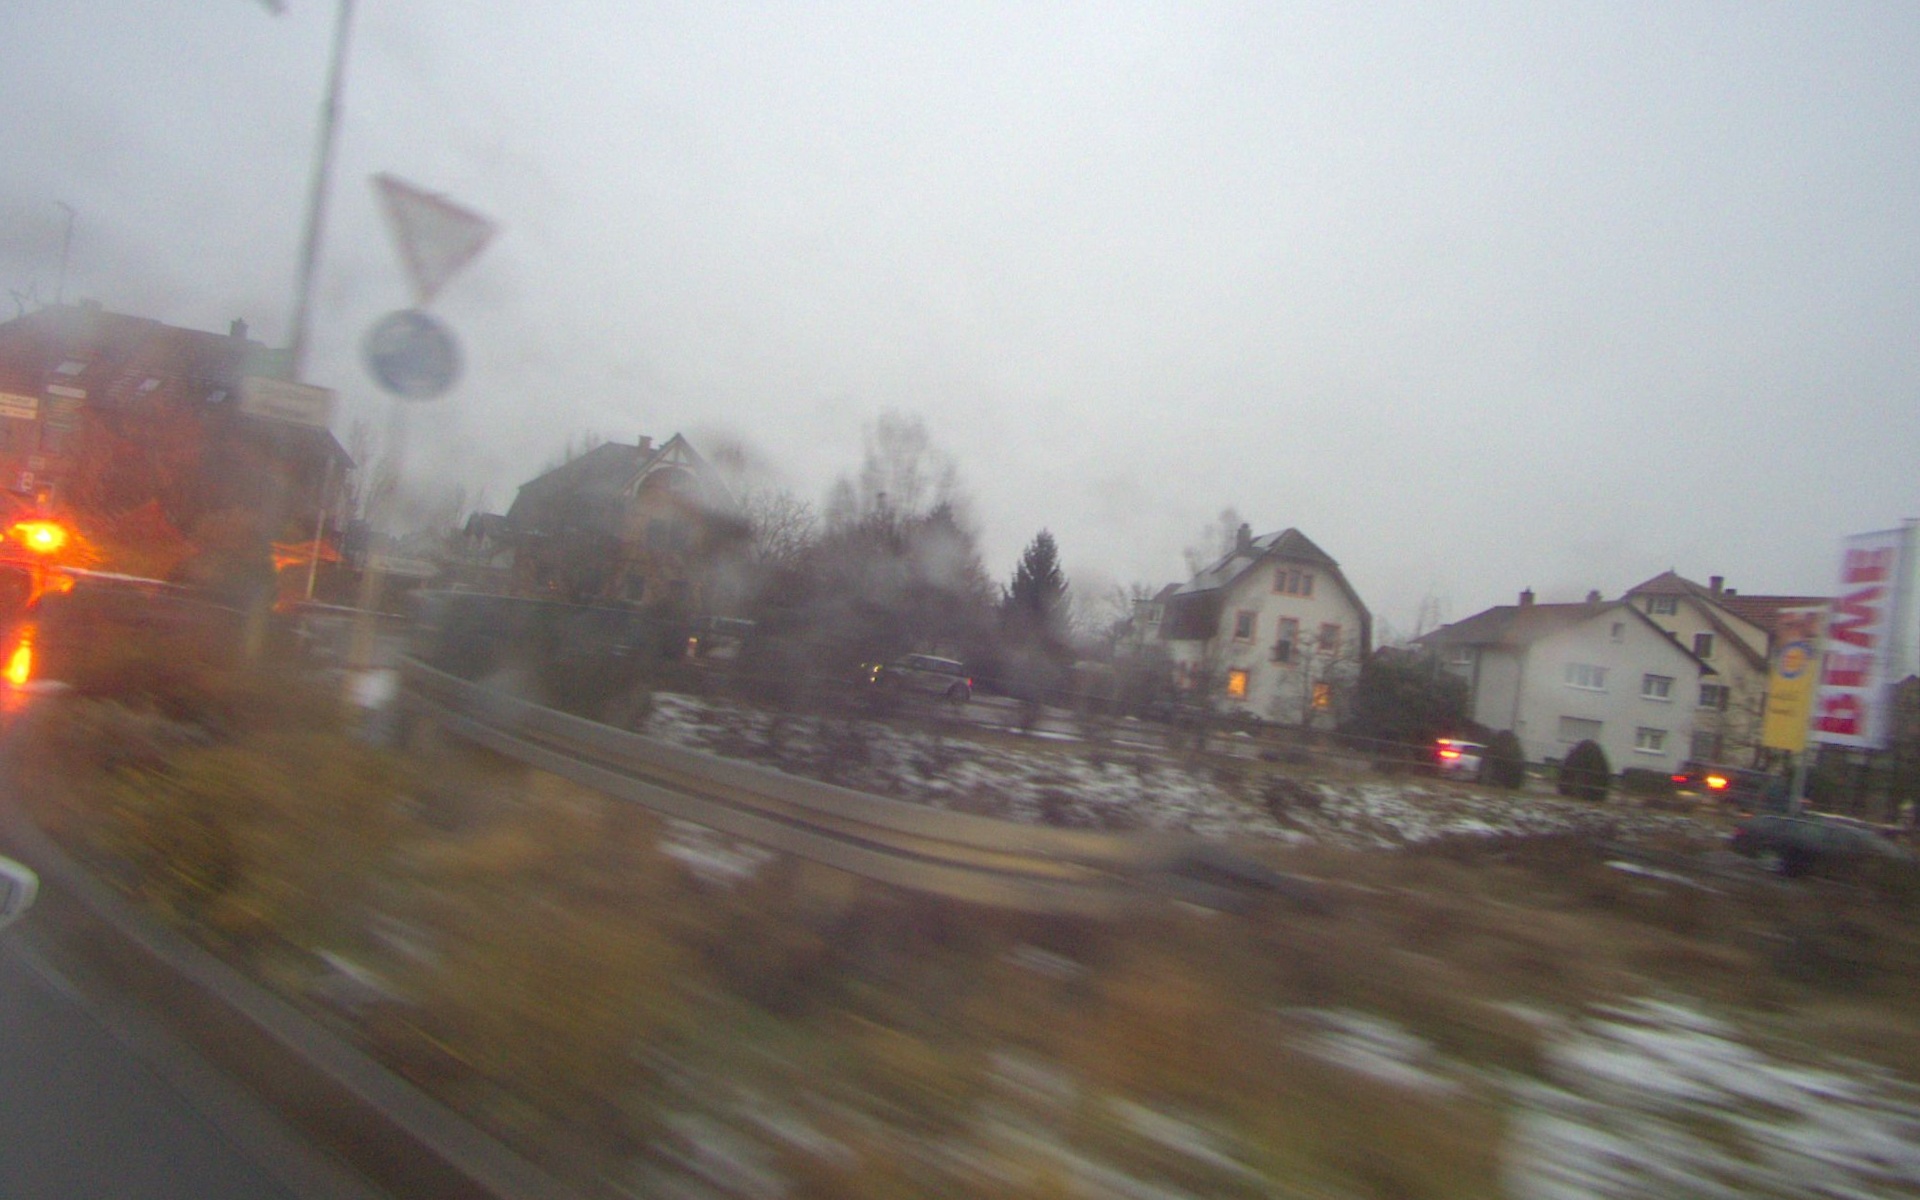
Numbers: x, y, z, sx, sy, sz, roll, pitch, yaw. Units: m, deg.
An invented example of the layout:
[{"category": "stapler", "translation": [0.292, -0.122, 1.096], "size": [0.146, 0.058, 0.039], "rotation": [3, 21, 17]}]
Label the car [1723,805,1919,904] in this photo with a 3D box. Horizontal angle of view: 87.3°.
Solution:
[{"category": "car", "translation": [20.573, 5.935, 23.569], "size": [1.597, 1.417, 3.919], "rotation": [10, -4, -32]}]

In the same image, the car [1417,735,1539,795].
[{"category": "car", "translation": [19.094, 6.080, 37.098], "size": [3.799, 1.507, 1.756], "rotation": [10, -4, -18]}]

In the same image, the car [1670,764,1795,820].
[{"category": "car", "translation": [31.327, 7.766, 40.858], "size": [3.648, 1.507, 1.919], "rotation": [9, -4, -6]}]

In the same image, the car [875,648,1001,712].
[{"category": "car", "translation": [-0.725, 2.597, 32.878], "size": [3.657, 1.507, 1.659], "rotation": [10, -4, -16]}]

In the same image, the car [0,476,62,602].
[{"category": "car", "translation": [-15.611, -1.129, 15.292], "size": [3.937, 1.737, 1.947], "rotation": [7, -3, 35]}]

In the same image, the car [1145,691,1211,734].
[{"category": "car", "translation": [10.540, 5.440, 49.010], "size": [1.882, 1.503, 3.999], "rotation": [7, -2, -5]}]

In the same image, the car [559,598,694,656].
[{"category": "car", "translation": [-15.003, 1.220, 45.592], "size": [5.239, 1.887, 2.366], "rotation": [7, -1, -7]}]

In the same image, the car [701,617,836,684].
[{"category": "car", "translation": [-7.894, 2.142, 42.011], "size": [5.157, 1.938, 1.940], "rotation": [9, -4, -6]}]
